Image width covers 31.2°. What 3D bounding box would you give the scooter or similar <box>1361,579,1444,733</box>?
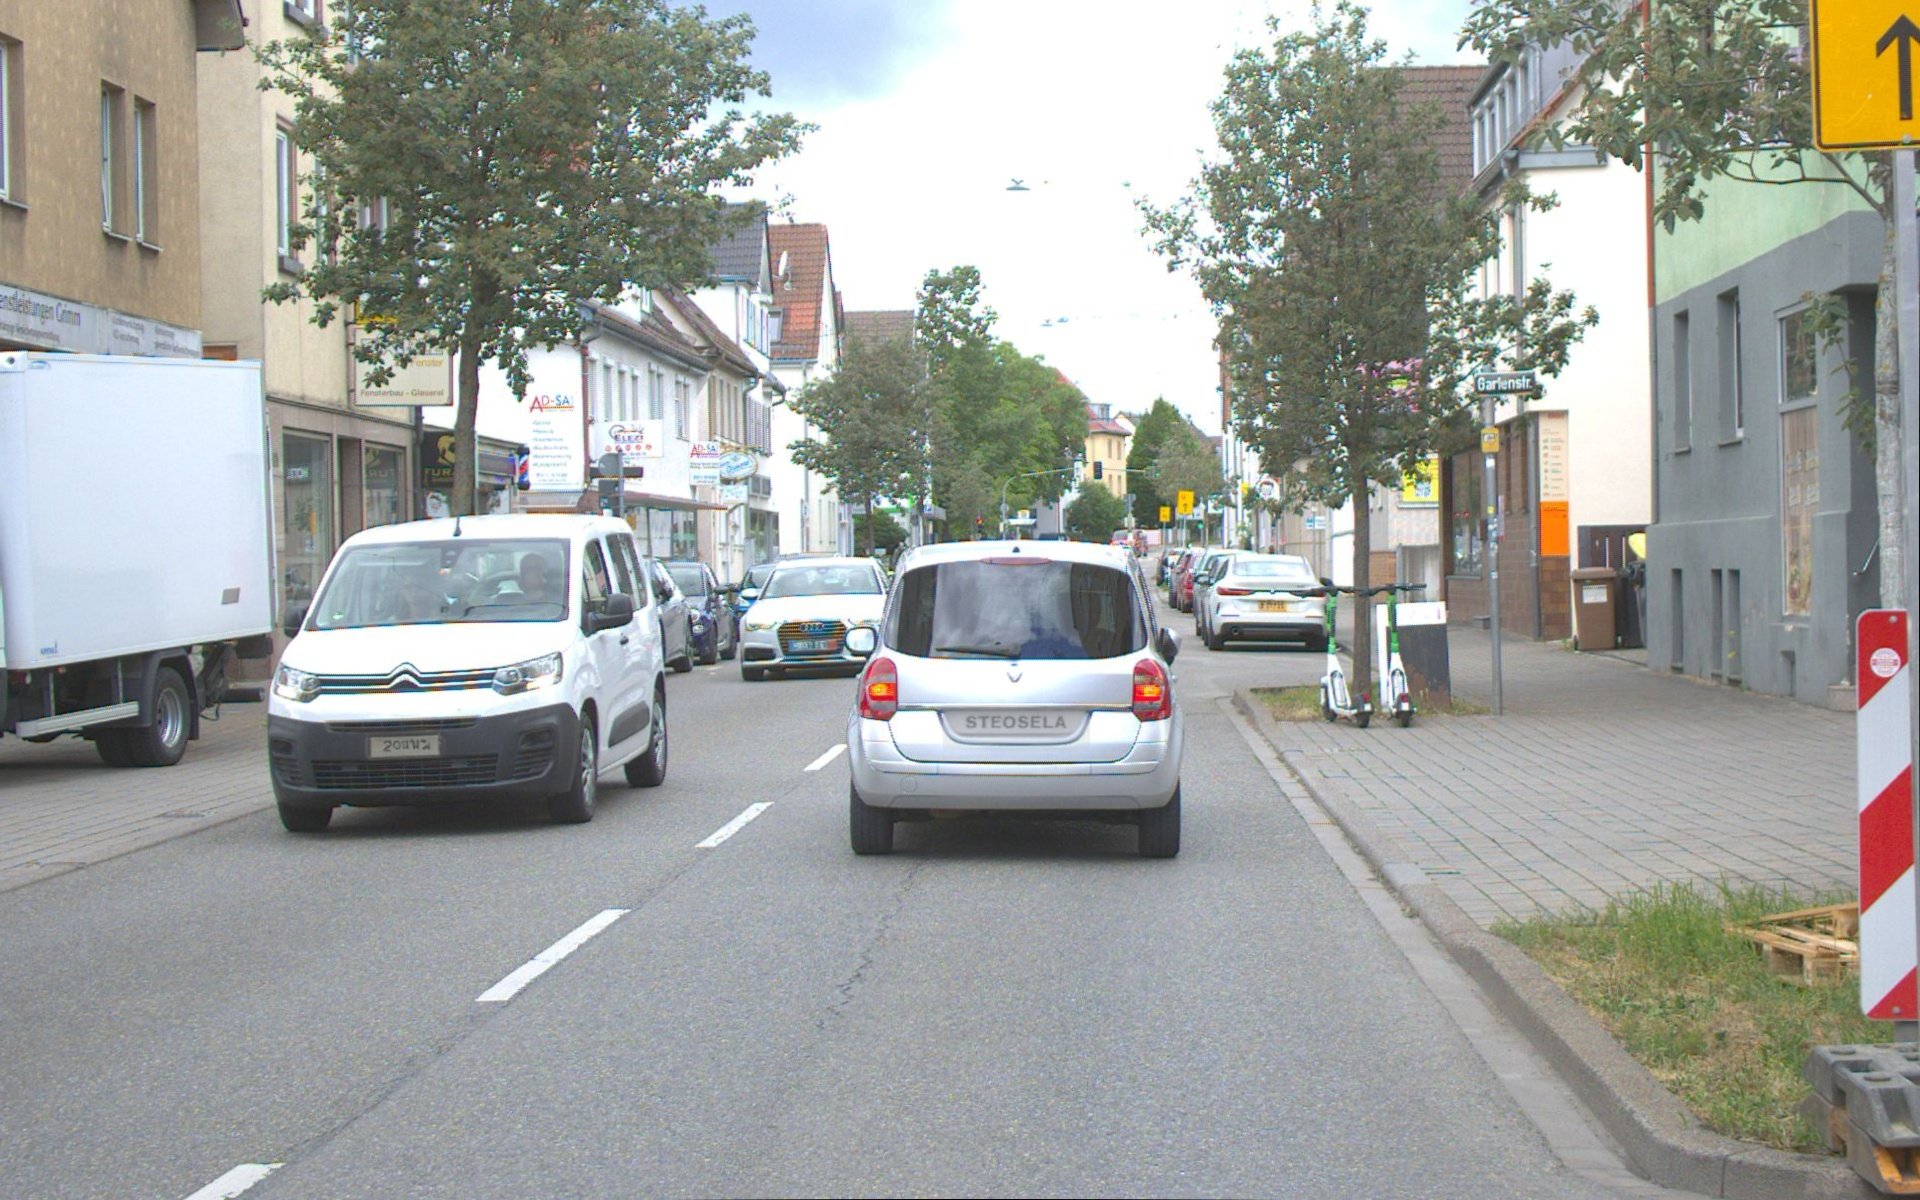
[{"bbox_3d":[3.692,0.449,28.767,0.502,1.231,1.942,0,1,2],"label":"scooter or similar"}]

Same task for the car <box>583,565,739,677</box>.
[{"bbox_3d":[-4.287,0.272,49.733,1.682,1.488,3.591,-2,1,3],"label":"car"}]

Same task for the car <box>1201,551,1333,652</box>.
[{"bbox_3d":[4.581,-0.005,51.781,1.831,1.441,4.331,1,1,3],"label":"car"}]

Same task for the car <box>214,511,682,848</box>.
[{"bbox_3d":[-2.975,0.412,20.924,1.994,1.790,4.277,-2,1,2],"label":"car"}]

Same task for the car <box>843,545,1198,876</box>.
[{"bbox_3d":[0.404,0.500,18.420,1.682,1.560,3.993,1,1,3],"label":"car"}]

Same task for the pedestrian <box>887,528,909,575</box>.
[{"bbox_3d":[-2.349,-1.828,130.065,0.762,1.785,0.890,0,1,3],"label":"pedestrian"}]

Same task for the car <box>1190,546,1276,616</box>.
[{"bbox_3d":[6.060,-0.435,76.674,1.831,1.492,3.993,1,1,3],"label":"car"}]

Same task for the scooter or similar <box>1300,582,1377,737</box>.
[{"bbox_3d":[3.158,0.477,28.786,0.502,1.231,1.942,0,1,2],"label":"scooter or similar"}]

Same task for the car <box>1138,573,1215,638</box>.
[{"bbox_3d":[5.106,0.105,81.396,1.755,1.441,4.454,1,1,3],"label":"car"}]

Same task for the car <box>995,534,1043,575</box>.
[{"bbox_3d":[2.688,-2.064,155.677,1.901,1.731,4.365,-2,1,3],"label":"car"}]

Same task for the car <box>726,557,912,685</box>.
[{"bbox_3d":[-1.684,0.217,42.510,1.843,1.428,4.543,-2,1,3],"label":"car"}]

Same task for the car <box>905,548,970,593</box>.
[{"bbox_3d":[-0.780,-1.051,122.421,1.948,1.462,4.515,-3,1,3],"label":"car"}]

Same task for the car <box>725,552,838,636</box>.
[{"bbox_3d":[-3.381,-0.143,65.726,1.682,1.494,3.774,-2,1,3],"label":"car"}]

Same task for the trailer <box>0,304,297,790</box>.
[{"bbox_3d":[-7.277,-0.375,24.438,2.504,3.208,7.131,0,1,12],"label":"trailer"}]

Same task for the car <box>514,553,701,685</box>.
[{"bbox_3d":[-4.500,0.204,44.409,1.710,1.560,4.113,-2,1,3],"label":"car"}]
